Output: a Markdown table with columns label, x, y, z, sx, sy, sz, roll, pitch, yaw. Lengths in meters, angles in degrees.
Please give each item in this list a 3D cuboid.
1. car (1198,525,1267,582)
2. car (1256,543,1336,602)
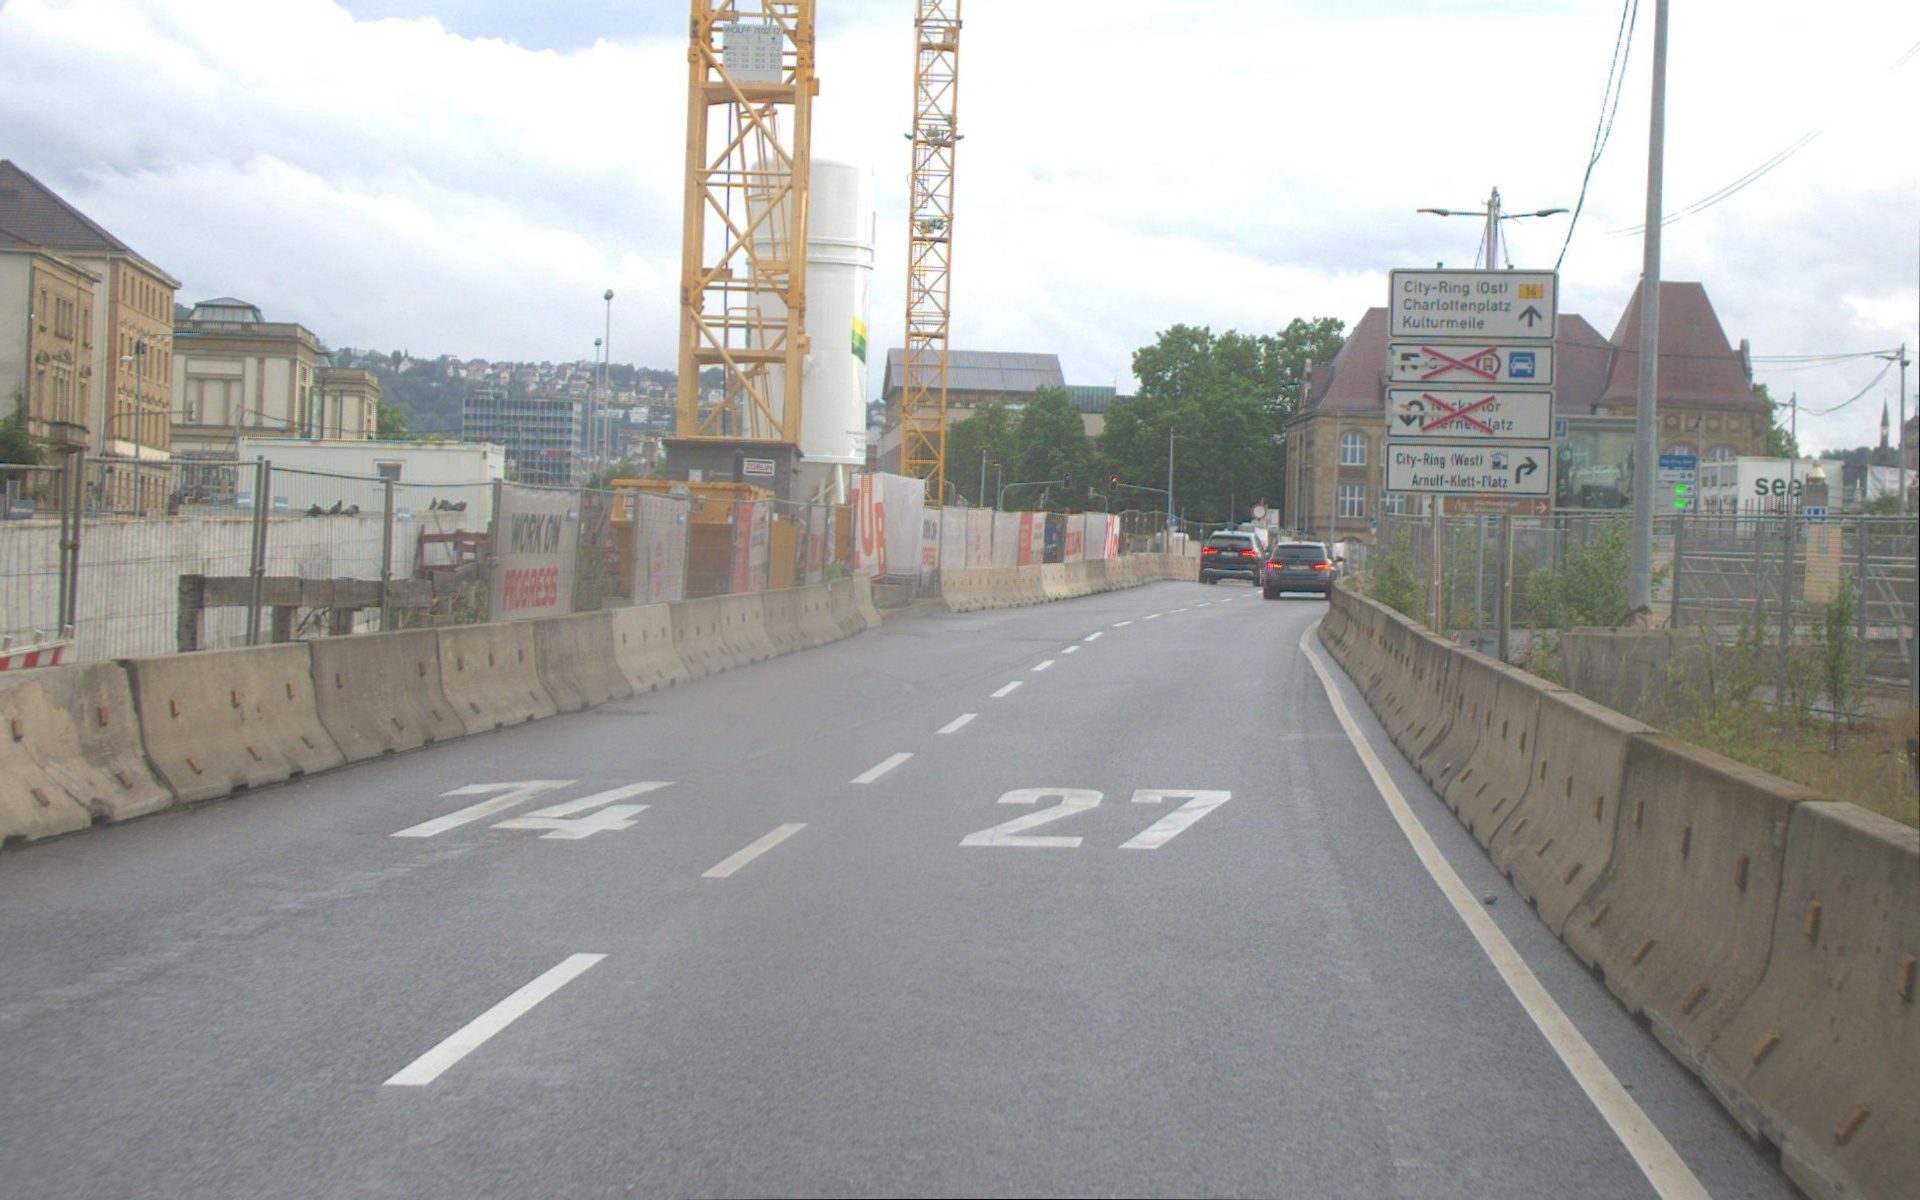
| label | x | y | z | sx | sy | sz | roll | pitch | yaw |
| --- | --- | --- | --- | --- | --- | --- | --- | --- | --- |
| car | 8.396 | -1.433 | 105.808 | 1.863 | 1.655 | 4.655 | 2 | 1 | 7 |
| car | 8.457 | -0.705 | 86.783 | 1.863 | 1.428 | 4.656 | 1 | 1 | 4 |
